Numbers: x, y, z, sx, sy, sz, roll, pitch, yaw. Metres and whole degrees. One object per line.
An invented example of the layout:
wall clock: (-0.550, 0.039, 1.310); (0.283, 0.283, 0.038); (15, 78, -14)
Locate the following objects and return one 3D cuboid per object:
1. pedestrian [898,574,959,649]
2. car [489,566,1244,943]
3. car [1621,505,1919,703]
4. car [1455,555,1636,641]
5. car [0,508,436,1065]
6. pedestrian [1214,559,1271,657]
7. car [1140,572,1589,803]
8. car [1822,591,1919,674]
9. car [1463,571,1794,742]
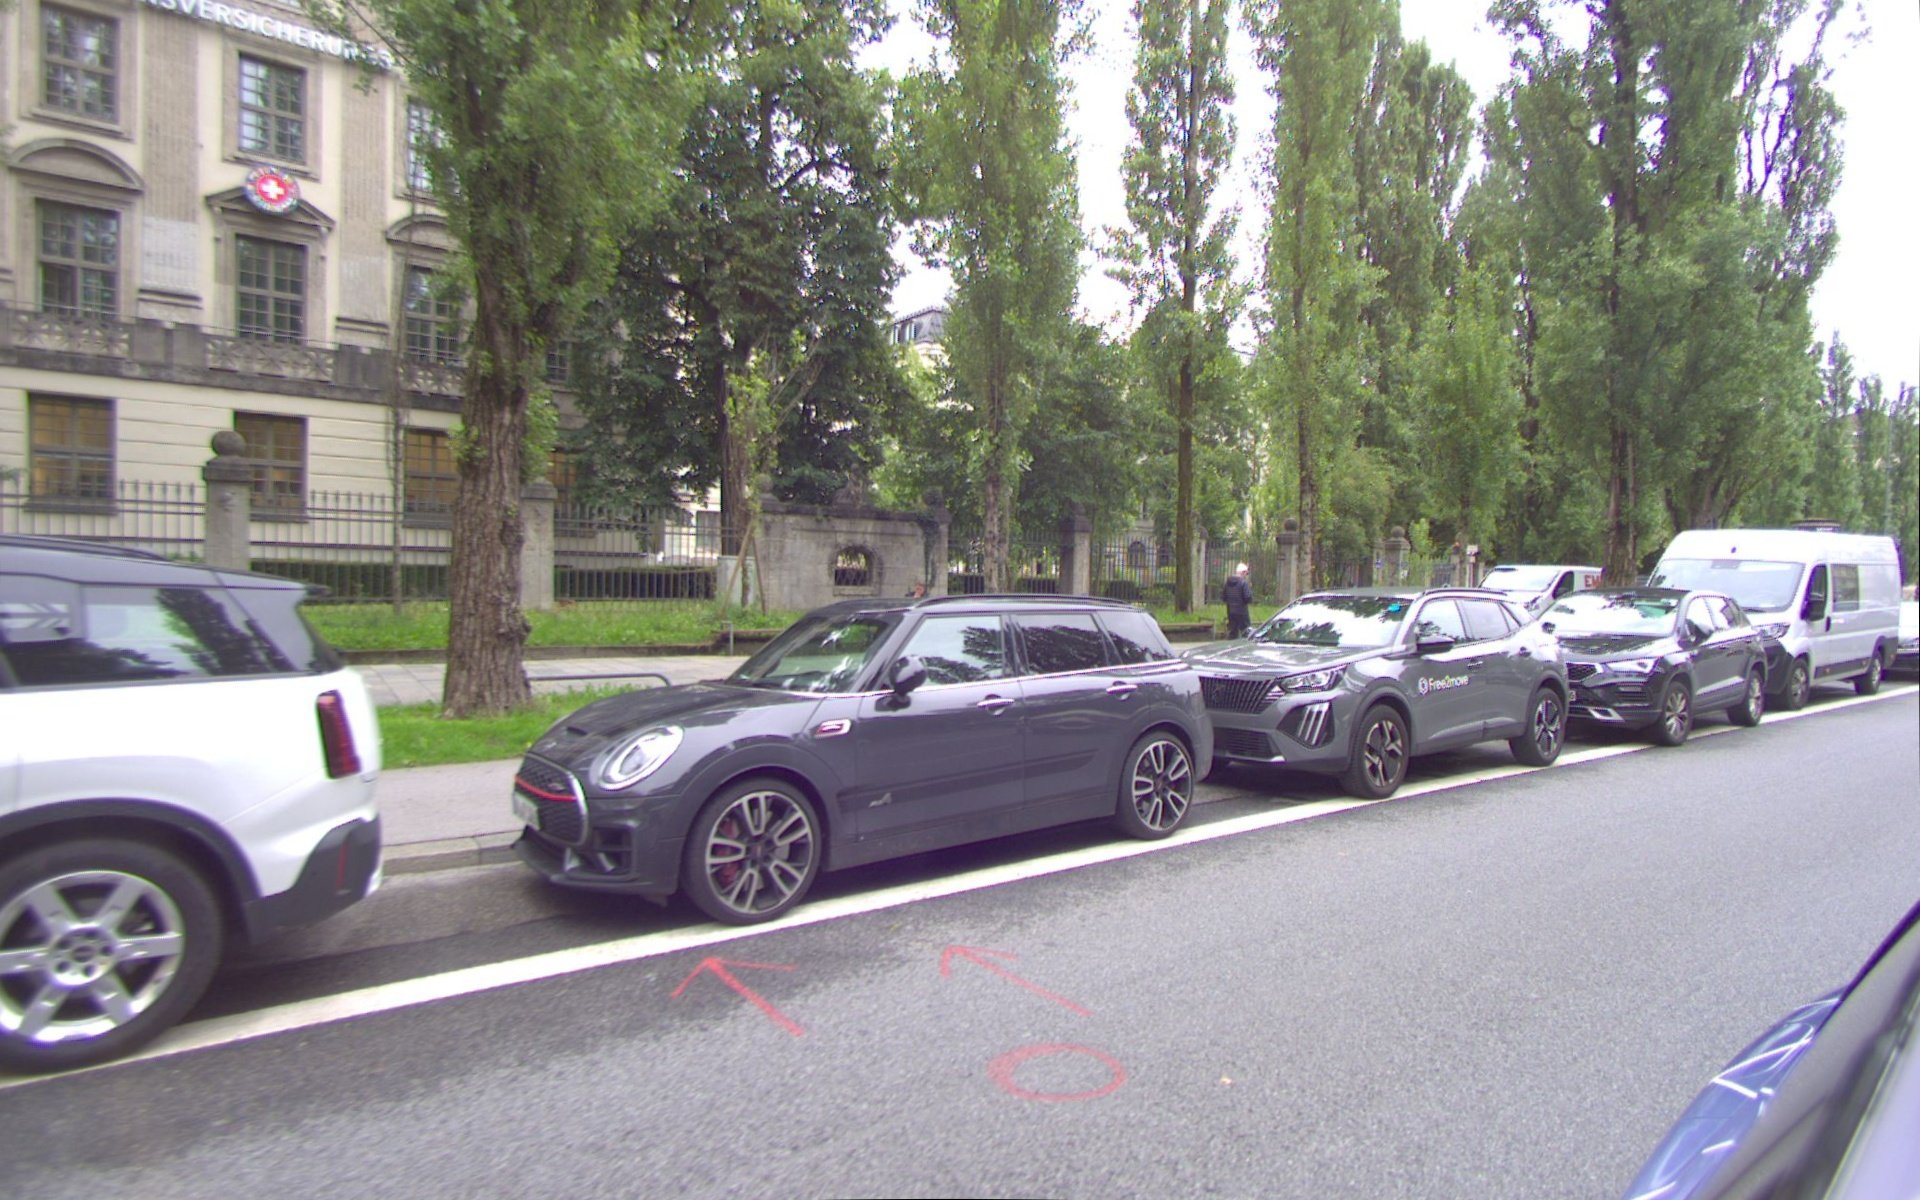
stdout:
pedestrian: (-0.560, 0.195, 17.915); (0.659, 1.259, 0.882); (1, 3, -36)
car: (-0.335, 0.598, 5.810); (4.071, 1.464, 1.638); (0, 0, -37)
car: (12.547, 0.036, 15.449); (6.166, 2.510, 2.081); (0, 1, -36)
car: (14.747, -0.090, 25.385); (4.987, 1.970, 2.000); (0, 2, -35)
car: (-4.012, 0.537, 3.093); (4.069, 1.602, 1.786); (0, 0, -36)
pedestrian: (4.984, 0.135, 17.849); (0.621, 1.680, 0.717); (0, 1, -36)
car: (3.530, 0.560, 8.539); (4.037, 1.522, 1.656); (0, 1, -37)
car: (18.259, 0.573, 19.418); (3.925, 1.468, 1.759); (0, -1, -36)
car: (7.676, 0.505, 11.492); (4.144, 1.610, 1.826); (0, 1, -36)
